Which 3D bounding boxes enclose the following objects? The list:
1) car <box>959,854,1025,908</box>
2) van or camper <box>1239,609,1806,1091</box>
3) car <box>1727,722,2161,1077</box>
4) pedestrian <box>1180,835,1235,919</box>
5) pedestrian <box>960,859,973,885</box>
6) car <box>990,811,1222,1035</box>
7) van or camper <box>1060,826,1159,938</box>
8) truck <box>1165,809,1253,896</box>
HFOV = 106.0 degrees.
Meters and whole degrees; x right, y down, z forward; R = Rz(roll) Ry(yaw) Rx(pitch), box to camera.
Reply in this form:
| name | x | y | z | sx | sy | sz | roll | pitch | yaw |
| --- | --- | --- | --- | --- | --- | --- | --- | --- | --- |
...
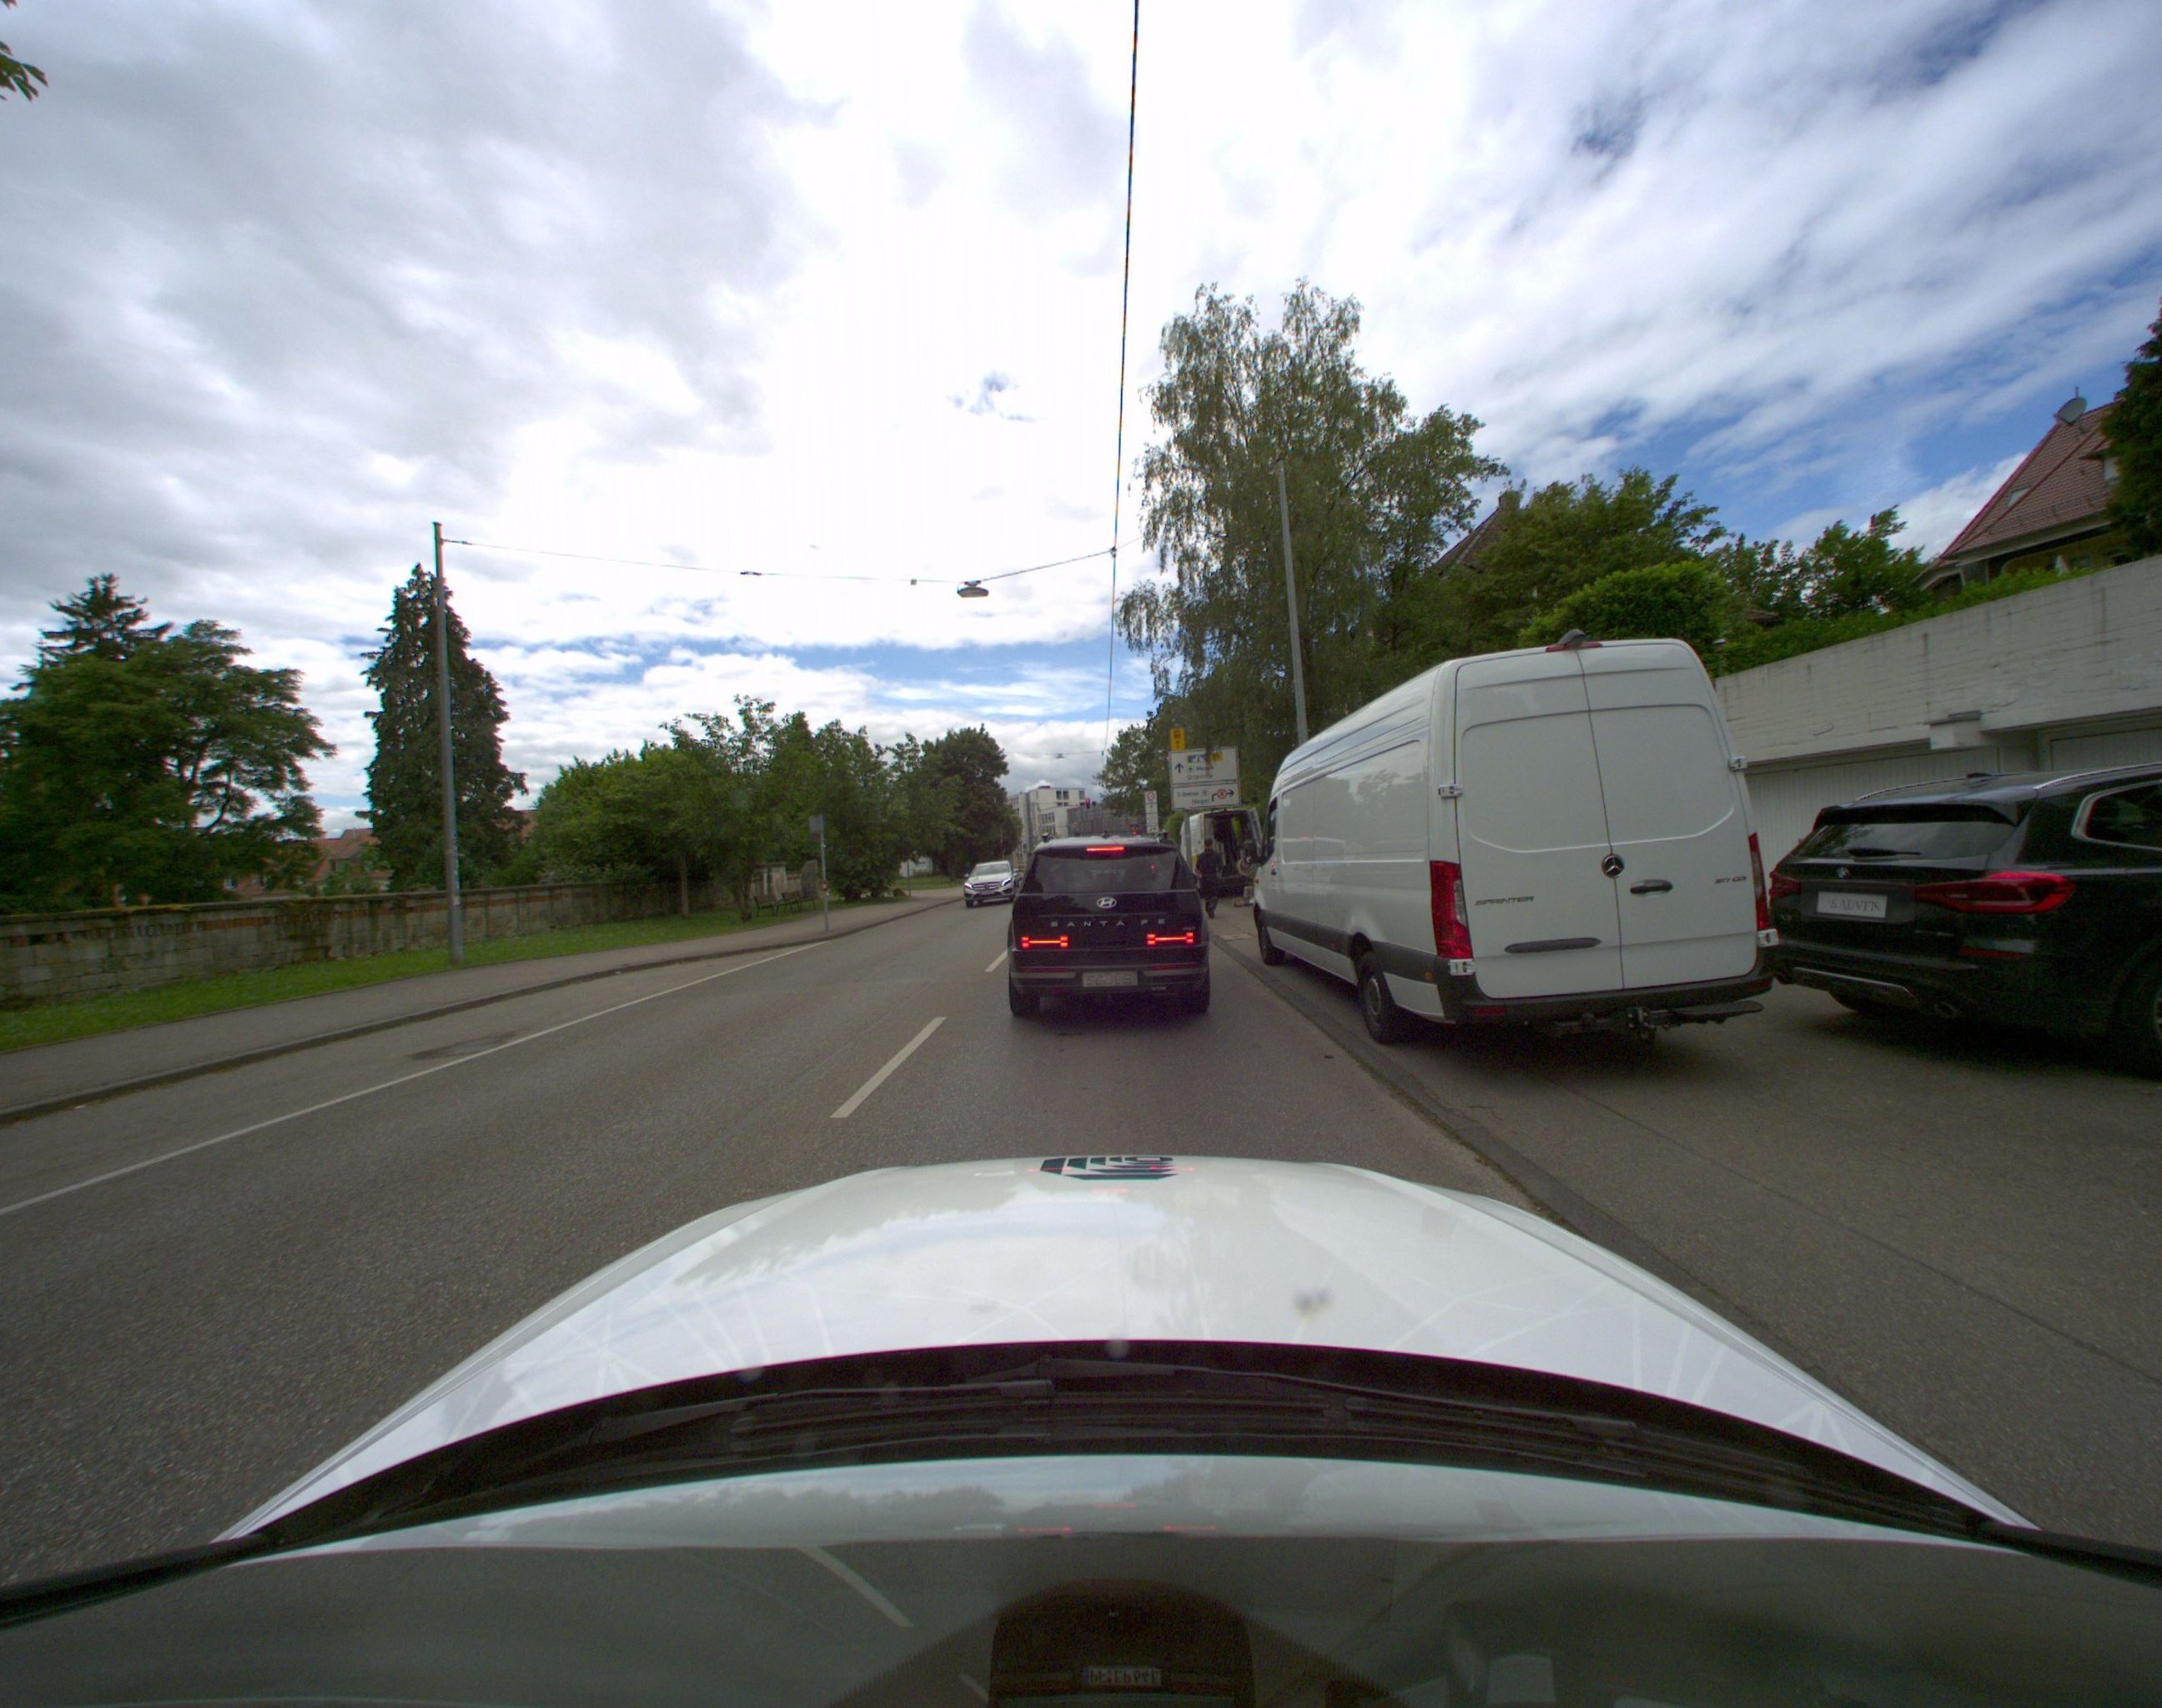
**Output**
| name | x | y | z | sx | sy | sz | roll | pitch | yaw |
| --- | --- | --- | --- | --- | --- | --- | --- | --- | --- |
| car | -3.179 | 0.927 | 29.887 | 1.779 | 1.653 | 4.120 | -6 | 0 | 0 |
| van or camper | 3.123 | -0.018 | 7.871 | 1.986 | 2.620 | 6.543 | -3 | 0 | 2 |
| car | 6.851 | 0.141 | 4.901 | 4.398 | 1.750 | 1.739 | -3 | 0 | 3 |
| pedestrian | 2.791 | 0.499 | 17.932 | 0.750 | 1.797 | 0.878 | -3 | -1 | 40 |
| pedestrian | -7.645 | 1.196 | 54.592 | 0.737 | 1.715 | 0.791 | -3 | 0 | -5 |
| car | 0.269 | 0.575 | 8.786 | 1.883 | 1.819 | 4.002 | -1 | 0 | 2 |
| van or camper | 0.604 | 0.521 | 17.285 | 1.748 | 2.013 | 4.002 | -3 | 0 | 2 |
| truck | 4.270 | -0.023 | 28.070 | 1.937 | 2.561 | 5.213 | -5 | -1 | -1 |
